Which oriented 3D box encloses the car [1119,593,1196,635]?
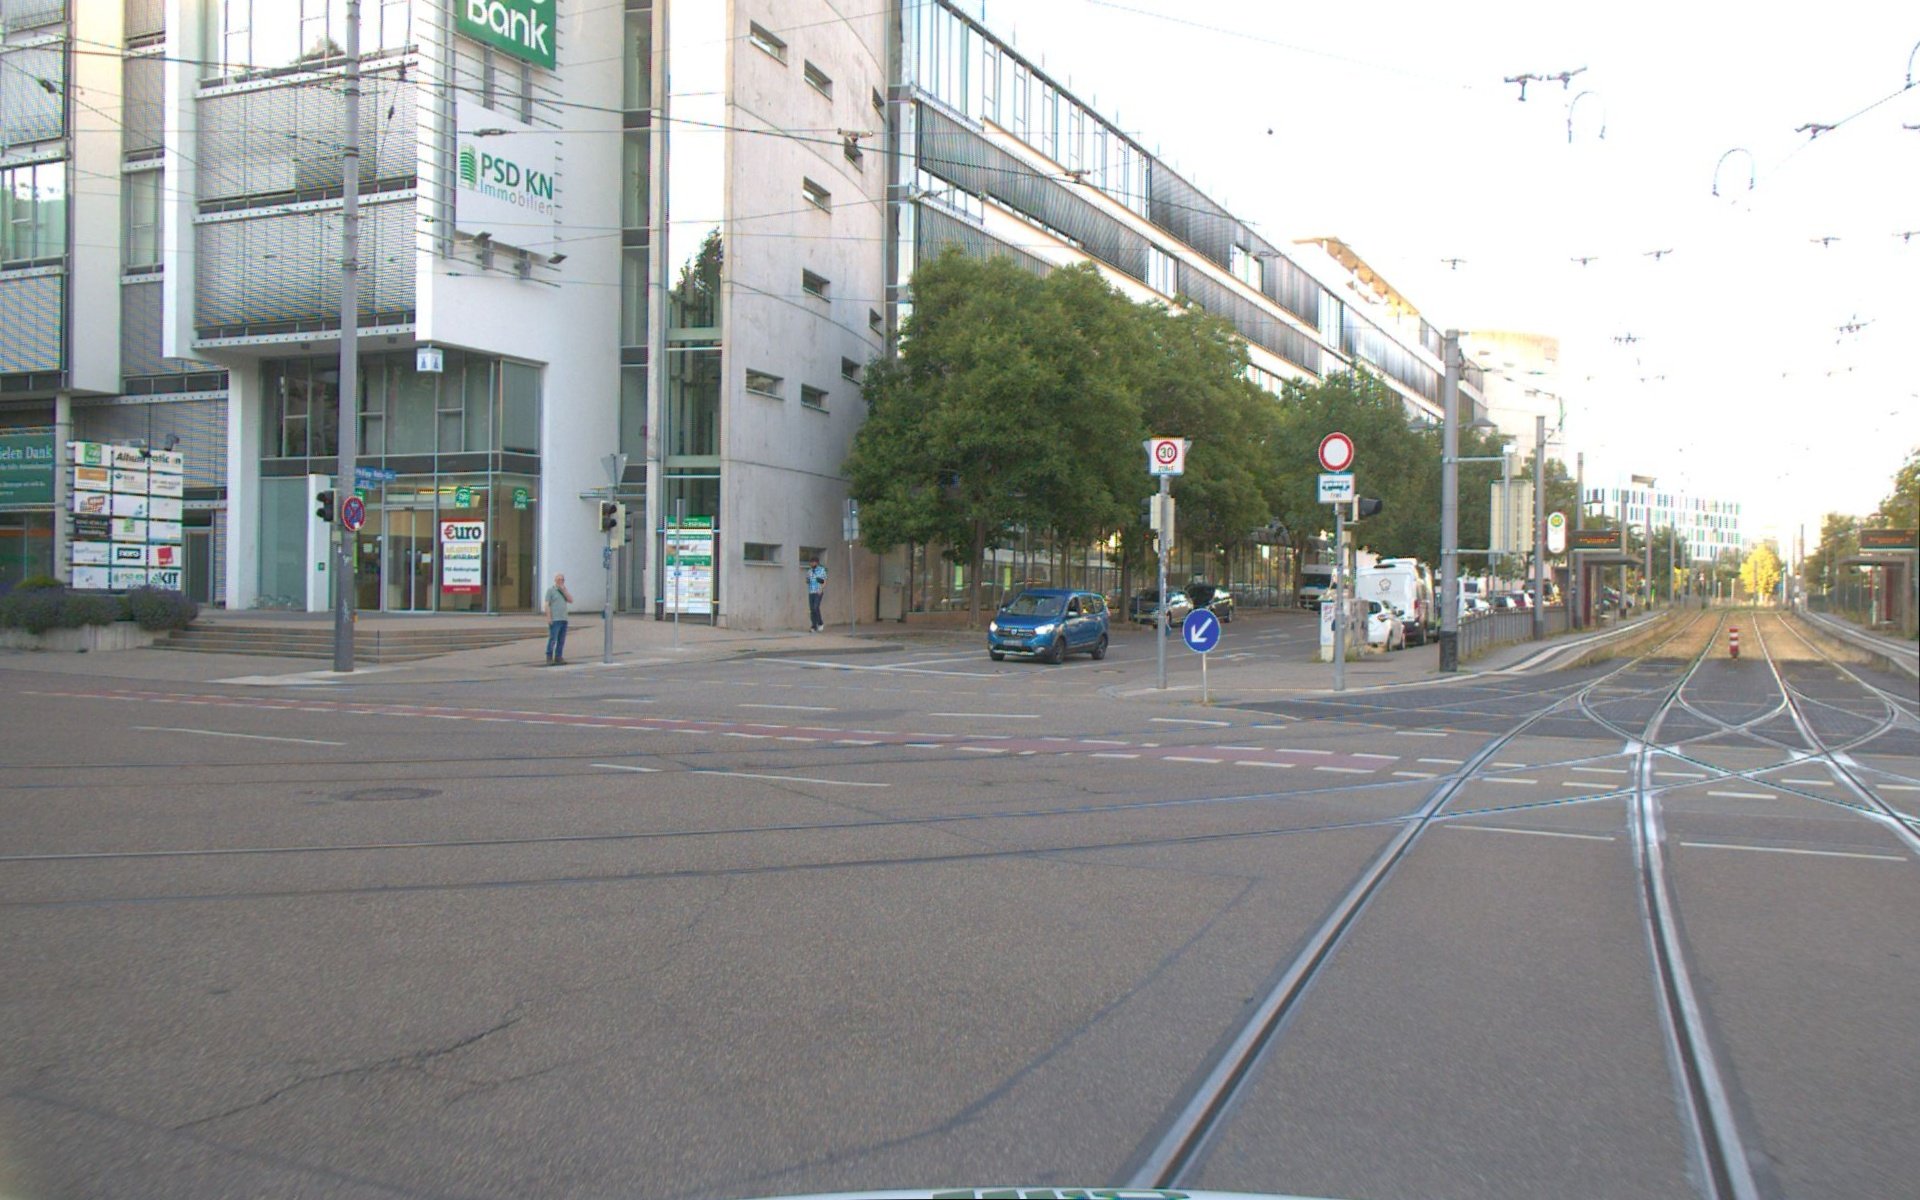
[{"bbox_3d":[7.585,0.493,63.228,1.650,1.528,4.235,1,1,26],"label":"car"}]

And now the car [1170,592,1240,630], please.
[{"bbox_3d":[10.202,0.430,68.618,1.650,1.528,4.235,1,1,26],"label":"car"}]

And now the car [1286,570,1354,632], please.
[{"bbox_3d":[19.316,0.027,88.509,2.158,3.207,6.137,1,1,26],"label":"car"}]

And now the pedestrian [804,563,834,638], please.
[{"bbox_3d":[-3.736,0.014,43.765,0.647,1.956,0.548,0,0,14],"label":"pedestrian"}]

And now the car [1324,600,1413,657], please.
[{"bbox_3d":[11.519,0.770,46.482,1.649,1.464,4.123,1,1,25],"label":"car"}]

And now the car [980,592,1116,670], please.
[{"bbox_3d":[2.160,0.681,39.332,1.650,1.729,4.234,1,1,27],"label":"car"}]

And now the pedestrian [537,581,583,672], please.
[{"bbox_3d":[-7.756,0.503,32.072,0.537,1.741,0.657,1,0,35],"label":"pedestrian"}]

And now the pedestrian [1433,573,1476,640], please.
[{"bbox_3d":[15.547,0.192,52.042,1.018,2.066,0.984,1,0,-2],"label":"pedestrian"}]

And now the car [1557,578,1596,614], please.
[{"bbox_3d":[36.327,-0.235,97.400,1.953,2.049,3.998,1,1,24],"label":"car"}]

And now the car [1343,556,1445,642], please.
[{"bbox_3d":[13.662,-0.057,51.827,2.410,2.526,5.808,1,1,21],"label":"car"}]

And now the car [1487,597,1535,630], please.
[{"bbox_3d":[25.646,0.601,76.872,1.649,1.464,4.123,1,1,25],"label":"car"}]

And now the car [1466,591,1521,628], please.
[{"bbox_3d":[22.304,0.363,69.050,1.649,1.464,4.123,1,1,25],"label":"car"}]

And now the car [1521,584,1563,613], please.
[{"bbox_3d":[30.730,-0.104,87.287,1.649,1.464,4.123,1,1,25],"label":"car"}]
